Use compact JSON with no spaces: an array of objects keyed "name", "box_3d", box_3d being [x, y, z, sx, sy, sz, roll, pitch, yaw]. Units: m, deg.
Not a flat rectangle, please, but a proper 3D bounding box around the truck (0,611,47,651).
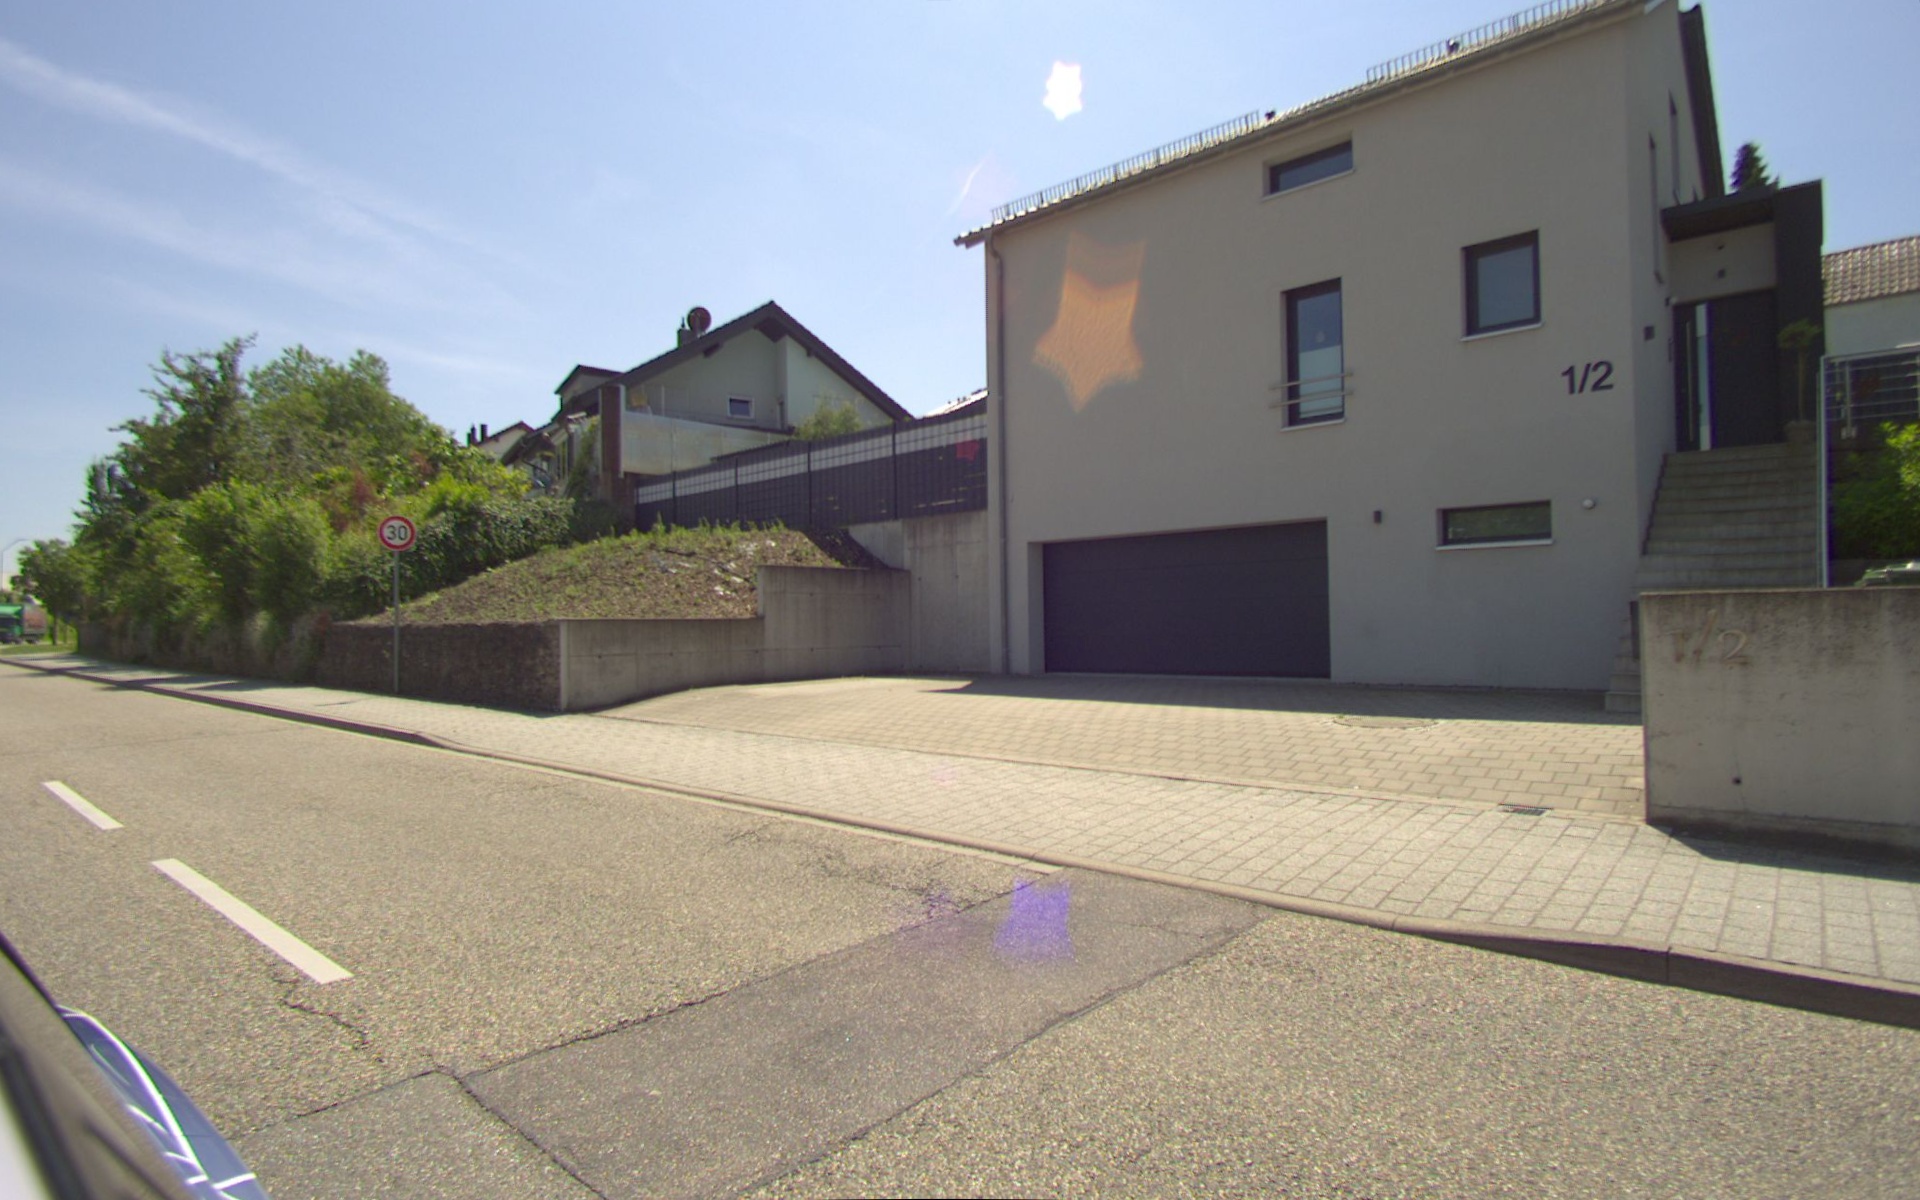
[{"name":"truck","box_3d":[-81.477,2.667,86.790,2.805,3.258,8.188,3,-4,-29]}]
